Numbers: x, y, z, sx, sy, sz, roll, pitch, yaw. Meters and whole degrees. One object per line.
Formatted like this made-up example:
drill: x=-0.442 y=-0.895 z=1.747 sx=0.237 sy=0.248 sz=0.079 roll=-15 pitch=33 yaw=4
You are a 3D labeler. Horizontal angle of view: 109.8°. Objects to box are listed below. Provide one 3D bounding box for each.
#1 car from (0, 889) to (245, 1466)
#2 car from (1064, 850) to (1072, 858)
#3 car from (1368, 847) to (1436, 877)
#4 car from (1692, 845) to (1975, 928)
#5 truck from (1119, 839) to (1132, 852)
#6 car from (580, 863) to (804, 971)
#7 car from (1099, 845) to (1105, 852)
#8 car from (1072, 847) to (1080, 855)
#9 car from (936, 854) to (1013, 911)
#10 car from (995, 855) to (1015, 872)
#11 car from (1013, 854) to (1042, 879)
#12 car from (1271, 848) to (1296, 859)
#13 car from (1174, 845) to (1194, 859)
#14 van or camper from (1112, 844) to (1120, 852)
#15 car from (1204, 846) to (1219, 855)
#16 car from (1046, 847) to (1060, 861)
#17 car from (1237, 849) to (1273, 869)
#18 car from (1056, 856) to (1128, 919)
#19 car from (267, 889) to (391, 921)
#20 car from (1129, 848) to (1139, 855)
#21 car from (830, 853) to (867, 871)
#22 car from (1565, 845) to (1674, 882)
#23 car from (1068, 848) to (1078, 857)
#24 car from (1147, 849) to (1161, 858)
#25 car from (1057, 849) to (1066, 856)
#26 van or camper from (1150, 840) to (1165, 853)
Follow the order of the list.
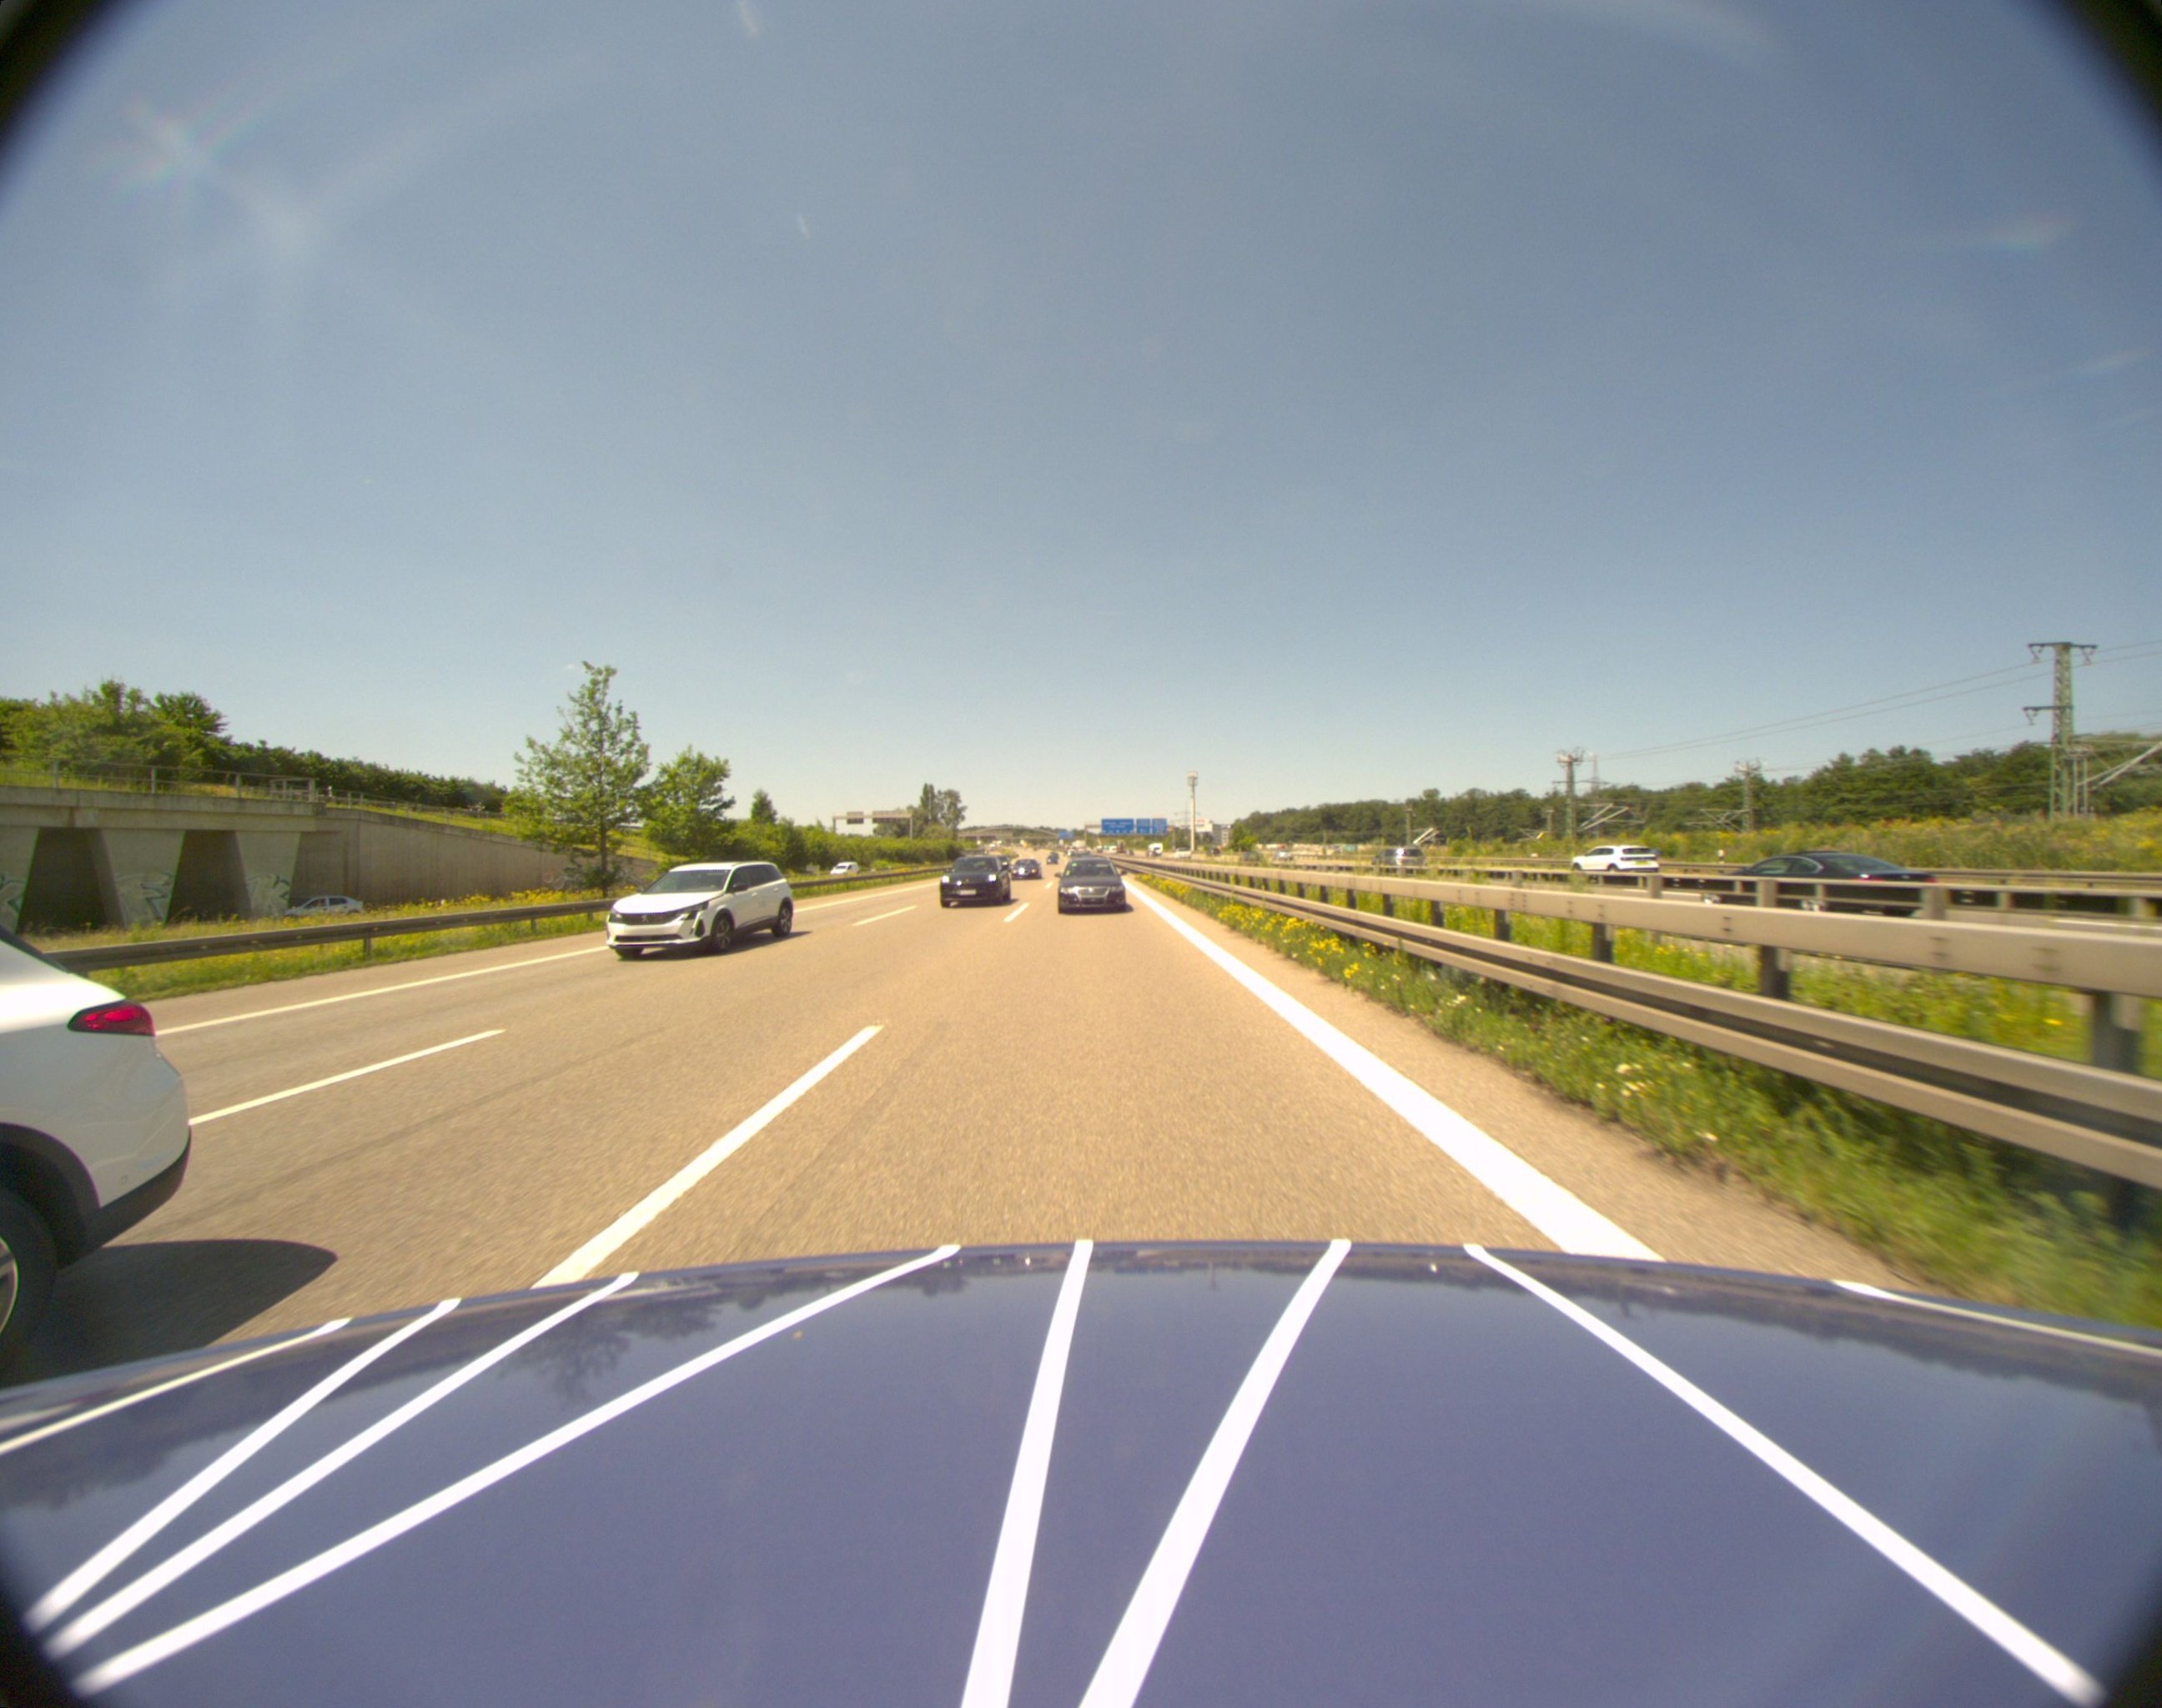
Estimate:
car: x=-4.147 y=0.995 z=0.528 sx=1.909 sy=1.646 sz=4.636 roll=-2 pitch=0 yaw=1
car: x=-3.642 y=-0.043 z=214.756 sx=1.998 sy=2.002 sz=3.999 roll=-3 pitch=1 yaw=0
car: x=17.951 y=0.393 z=42.777 sx=1.998 sy=1.567 sz=4.476 roll=-1 pitch=1 yaw=1
car: x=16.292 y=0.610 z=16.885 sx=1.998 sy=1.567 sz=4.477 roll=-1 pitch=1 yaw=3
truck: x=13.811 y=-2.606 z=236.854 sx=3.395 sy=3.960 sz=12.240 roll=-2 pitch=1 yaw=1
car: x=-7.211 y=1.055 z=14.763 sx=1.898 sy=1.620 sz=4.616 roll=-2 pitch=1 yaw=0
car: x=7.168 y=-1.783 z=256.024 sx=1.785 sy=2.169 sz=3.999 roll=-2 pitch=1 yaw=0
car: x=-1.263 y=-0.717 z=185.312 sx=1.999 sy=1.691 sz=3.999 roll=-2 pitch=1 yaw=0
car: x=-3.443 y=0.858 z=25.424 sx=1.983 sy=1.620 sz=4.616 roll=-2 pitch=1 yaw=-1
car: x=-7.419 y=0.888 z=74.566 sx=1.752 sy=1.462 sz=3.998 roll=-2 pitch=1 yaw=-4
car: x=-3.568 y=0.822 z=50.883 sx=1.752 sy=1.462 sz=3.998 roll=-2 pitch=1 yaw=-2
car: x=24.794 y=-0.051 z=93.190 sx=1.998 sy=1.304 sz=4.162 roll=-1 pitch=1 yaw=0
car: x=14.147 y=-0.339 z=104.785 sx=1.998 sy=1.820 sz=5.598 roll=-1 pitch=1 yaw=0
van or camper: x=9.971 y=-1.718 z=217.033 sx=1.999 sy=2.327 sz=5.076 roll=-2 pitch=1 yaw=-2
car: x=23.124 y=-0.603 z=134.888 sx=1.998 sy=1.588 sz=4.934 roll=-1 pitch=1 yaw=1
car: x=-4.220 y=-0.015 z=114.291 sx=1.999 sy=2.002 sz=3.999 roll=-2 pitch=1 yaw=0
car: x=14.258 y=0.384 z=62.459 sx=1.934 sy=1.475 sz=4.476 roll=-1 pitch=1 yaw=0
car: x=0.269 y=0.855 z=21.177 sx=1.752 sy=1.462 sz=3.999 roll=-2 pitch=1 yaw=0
car: x=-38.539 y=2.581 z=39.091 sx=1.896 sy=1.272 sz=4.081 roll=-2 pitch=0 yaw=14
car: x=12.318 y=-0.707 z=177.269 sx=1.999 sy=1.500 sz=4.888 roll=-3 pitch=1 yaw=0
car: x=-27.433 y=0.965 z=89.865 sx=1.996 sy=2.002 sz=4.768 roll=-1 pitch=0 yaw=13
car: x=24.860 y=0.389 z=35.310 sx=1.998 sy=1.567 sz=4.476 roll=-1 pitch=1 yaw=1
car: x=-1.582 y=-0.247 z=152.198 sx=1.999 sy=1.691 sz=3.999 roll=-2 pitch=1 yaw=0
car: x=13.088 y=-0.165 z=136.147 sx=1.999 sy=1.565 sz=4.549 roll=-1 pitch=1 yaw=-1
car: x=-4.455 y=-0.330 z=174.142 sx=1.999 sy=1.691 sz=3.999 roll=-2 pitch=1 yaw=0
van or camper: x=16.609 y=-1.670 z=164.954 sx=2.343 sy=2.641 sz=7.603 roll=-2 pitch=0 yaw=0
